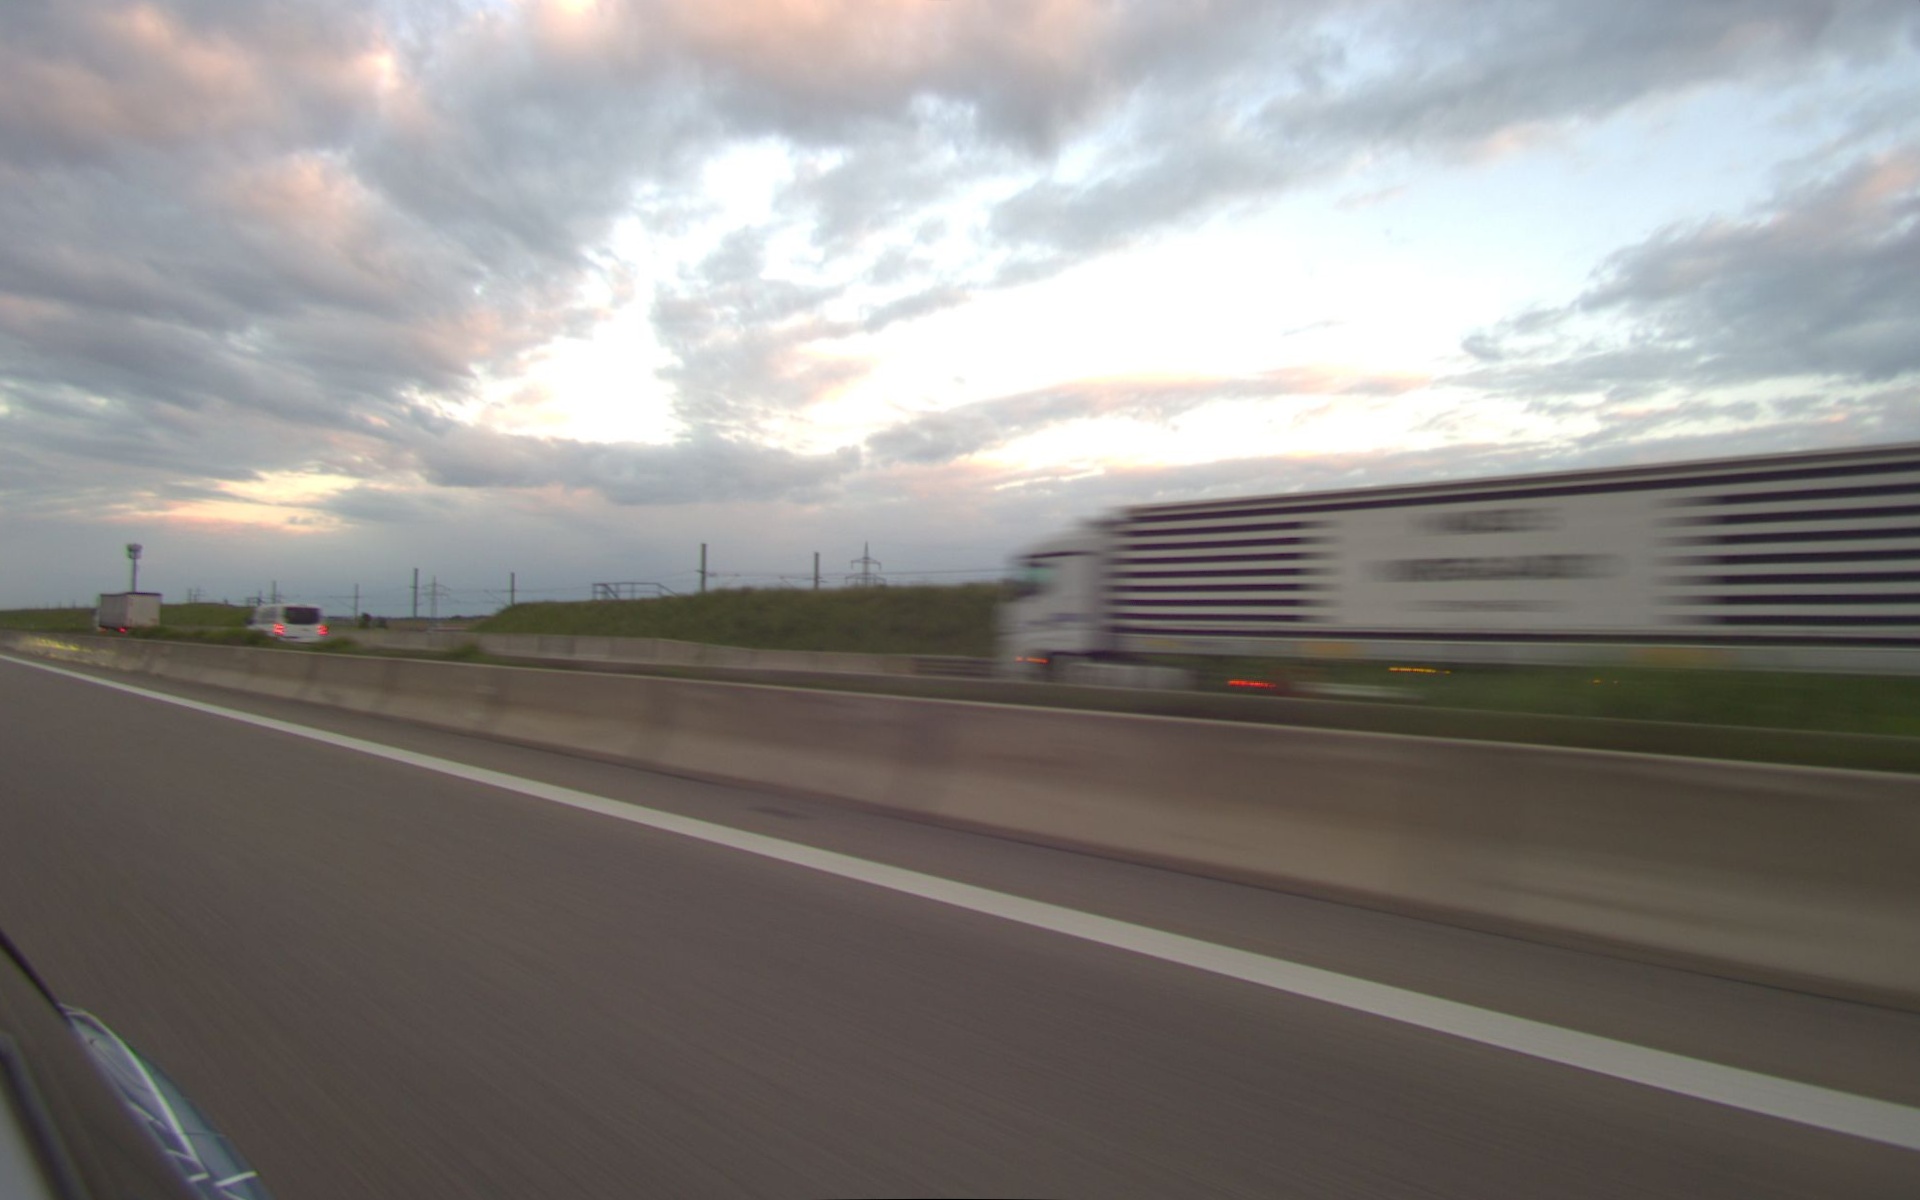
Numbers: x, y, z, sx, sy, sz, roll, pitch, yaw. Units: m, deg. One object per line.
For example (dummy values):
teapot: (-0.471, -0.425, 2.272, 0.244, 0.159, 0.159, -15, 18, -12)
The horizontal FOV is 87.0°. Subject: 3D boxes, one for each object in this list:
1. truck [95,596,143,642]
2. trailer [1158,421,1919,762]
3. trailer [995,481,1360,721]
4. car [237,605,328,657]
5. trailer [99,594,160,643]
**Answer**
truck: (-83.114, 1.926, 99.976, 6.739, 4.385, 2.787, -2, -1, 43)
trailer: (10.277, 0.002, 15.295, 15.107, 4.146, 2.657, -1, -4, 42)
trailer: (4.241, 0.135, 20.811, 6.937, 4.146, 2.657, -1, -4, 42)
car: (-32.943, 1.513, 49.105, 6.491, 2.362, 2.105, -1, -3, 42)
trailer: (-78.512, 1.812, 95.572, 12.838, 4.385, 2.787, -2, -1, 43)
